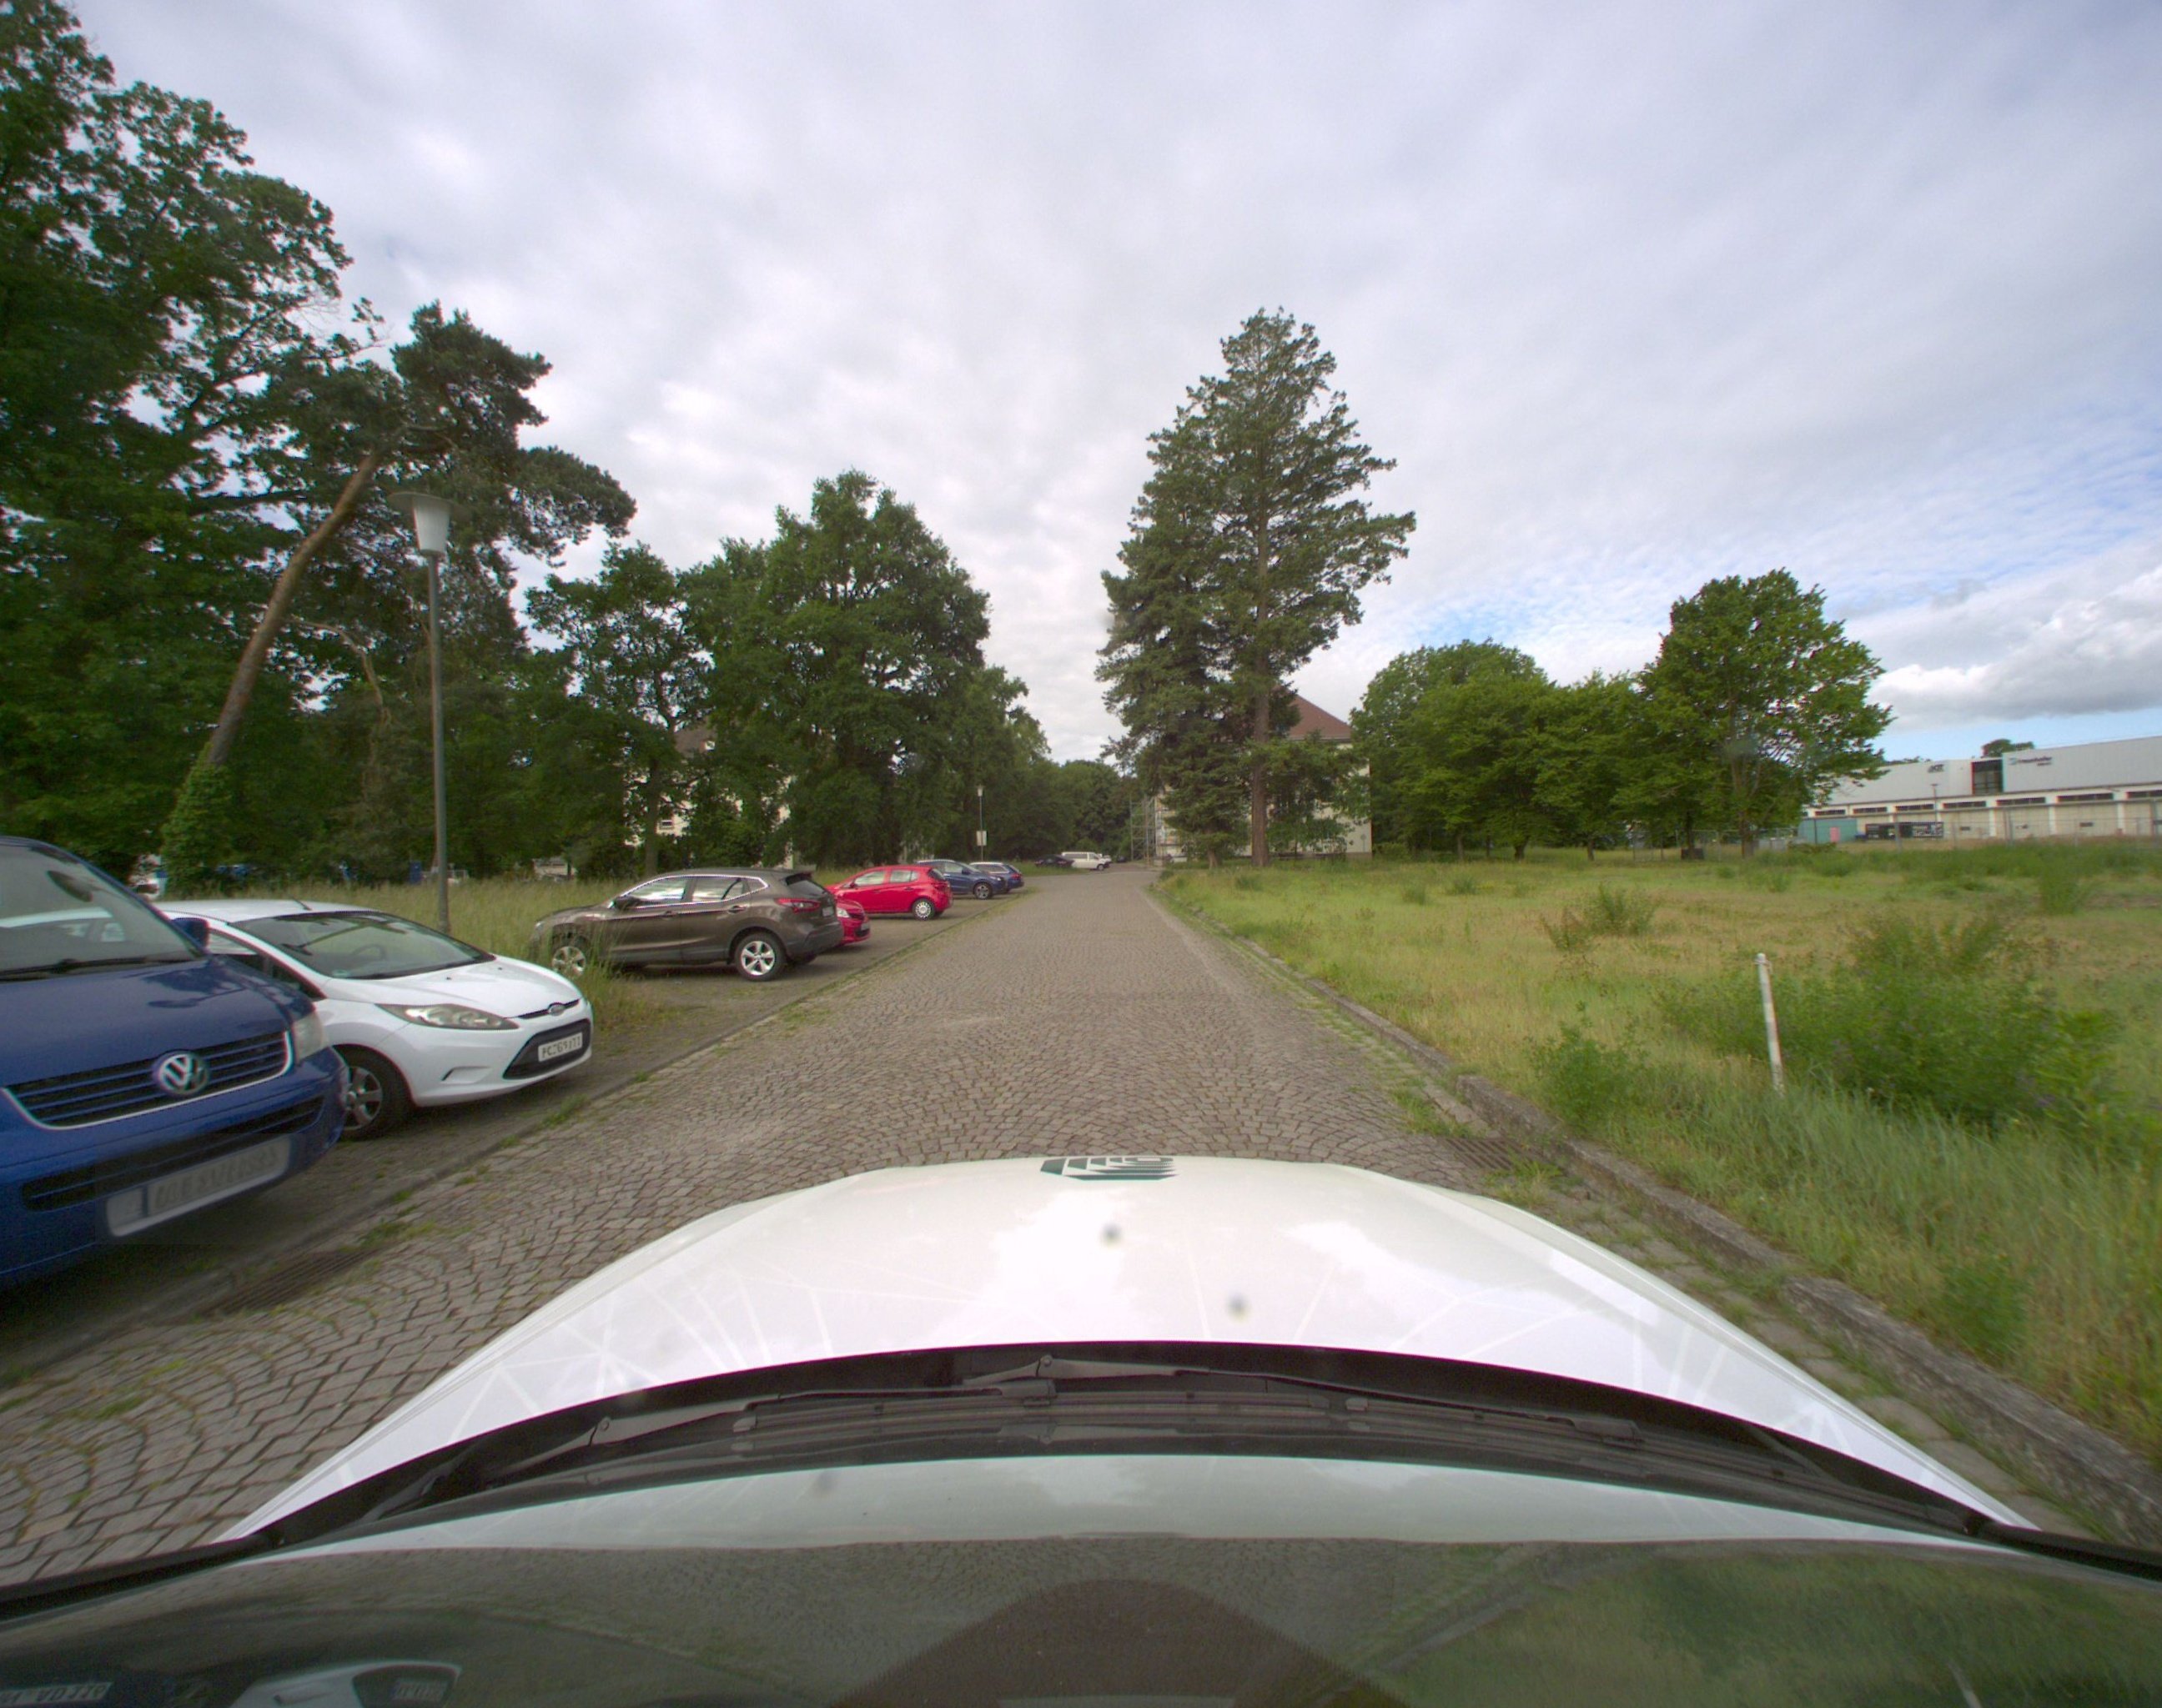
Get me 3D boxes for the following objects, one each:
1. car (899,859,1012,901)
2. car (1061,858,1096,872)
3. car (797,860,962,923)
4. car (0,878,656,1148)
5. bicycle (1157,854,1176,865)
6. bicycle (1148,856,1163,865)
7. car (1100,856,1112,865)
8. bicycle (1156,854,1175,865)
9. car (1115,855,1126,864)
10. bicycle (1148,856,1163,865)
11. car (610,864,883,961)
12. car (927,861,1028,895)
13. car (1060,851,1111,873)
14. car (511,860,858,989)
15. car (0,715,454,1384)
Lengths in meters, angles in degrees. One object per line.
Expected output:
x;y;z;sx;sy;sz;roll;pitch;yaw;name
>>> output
-4.983;1.007;32.806;4.214;1.577;1.887;-1;0;0;car
-0.306;1.150;88.918;3.778;1.395;1.999;-2;0;-2;car
-5.492;1.009;22.591;4.042;1.525;1.904;-2;0;-1;car
-5.677;1.023;5.923;4.154;1.510;1.781;-2;0;-1;car
10.577;0.660;101.030;2.230;1.254;0.778;-2;-1;3;bicycle
11.355;0.954;124.924;2.230;1.254;0.635;-2;-1;3;bicycle
4.684;1.171;152.268;2.111;1.522;4.000;-2;0;0;car
10.312;0.644;99.122;2.230;1.254;0.778;-2;-1;3;bicycle
7.359;1.074;152.522;1.945;1.522;3.999;-2;0;0;car
11.325;0.944;124.080;2.230;1.254;0.699;-2;-1;3;bicycle
-5.988;1.010;14.965;4.153;1.510;1.907;-2;0;0;car
-4.706;1.078;37.554;4.285;1.461;1.976;-1;0;2;car
0.469;0.800;86.315;5.219;2.168;1.999;-2;0;-1;car
-5.730;0.969;12.219;4.154;1.622;1.985;-2;0;-2;car
-5.811;0.690;3.337;4.766;2.122;2.115;-2;0;0;car
